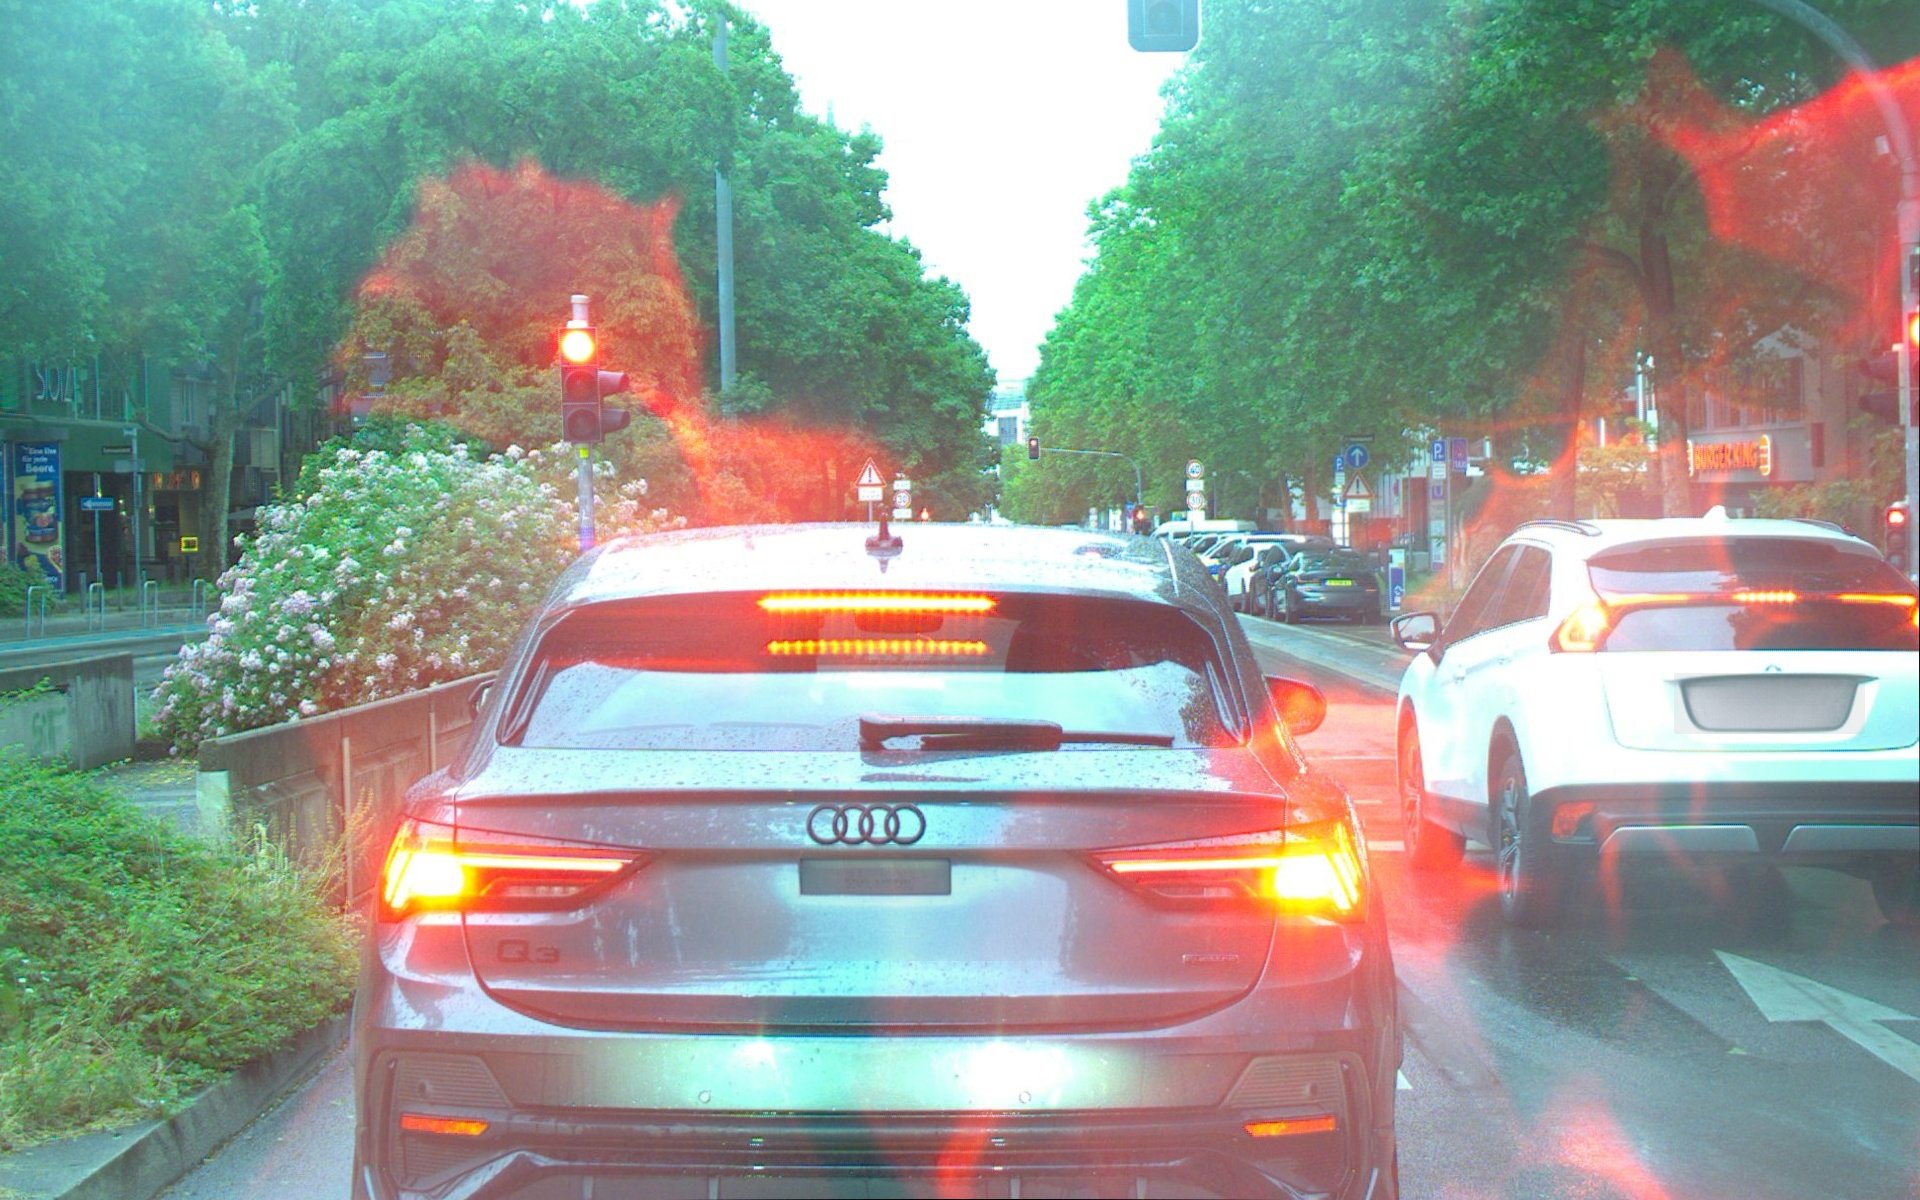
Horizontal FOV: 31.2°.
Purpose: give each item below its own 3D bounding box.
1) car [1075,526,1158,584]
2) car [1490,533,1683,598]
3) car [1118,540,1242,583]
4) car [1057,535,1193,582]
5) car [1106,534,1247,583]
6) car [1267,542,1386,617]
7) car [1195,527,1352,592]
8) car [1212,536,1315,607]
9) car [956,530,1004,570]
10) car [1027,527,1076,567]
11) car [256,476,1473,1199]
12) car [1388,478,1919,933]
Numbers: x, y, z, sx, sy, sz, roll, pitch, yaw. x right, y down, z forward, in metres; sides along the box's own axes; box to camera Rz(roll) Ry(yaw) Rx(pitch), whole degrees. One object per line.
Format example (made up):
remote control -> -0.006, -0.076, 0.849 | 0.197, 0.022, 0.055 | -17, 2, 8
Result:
car -> 4.730, -1.360, 104.617 | 1.993, 1.720, 4.001 | 1, 0, -5
car -> 10.648, -0.590, 58.475 | 2.889, 1.071, 1.453 | 1, 0, 32
car -> 8.991, -1.587, 140.588 | 4.646, 1.700, 1.997 | 1, 0, 28
car -> 6.151, -1.553, 128.503 | 4.646, 1.700, 1.997 | 1, 0, 28
car -> 7.749, -1.497, 123.139 | 4.646, 1.700, 1.997 | 1, 0, 28
car -> 7.261, -0.431, 68.514 | 1.873, 1.416, 4.611 | 1, 1, 0
car -> 9.936, -1.302, 109.118 | 4.602, 2.007, 1.964 | 1, 0, 39
car -> 6.980, -0.658, 79.317 | 1.727, 1.566, 4.074 | 1, 0, -4
car -> 0.823, -2.081, 142.942 | 1.896, 1.593, 3.939 | 1, 0, -1
car -> 3.922, -2.264, 148.140 | 1.993, 1.645, 4.000 | 1, 0, 1
car -> -0.169, 0.579, 7.233 | 1.849, 1.596, 4.000 | 0, 1, -1
car -> 3.052, 0.385, 14.945 | 1.878, 1.691, 4.000 | 1, 0, 0
